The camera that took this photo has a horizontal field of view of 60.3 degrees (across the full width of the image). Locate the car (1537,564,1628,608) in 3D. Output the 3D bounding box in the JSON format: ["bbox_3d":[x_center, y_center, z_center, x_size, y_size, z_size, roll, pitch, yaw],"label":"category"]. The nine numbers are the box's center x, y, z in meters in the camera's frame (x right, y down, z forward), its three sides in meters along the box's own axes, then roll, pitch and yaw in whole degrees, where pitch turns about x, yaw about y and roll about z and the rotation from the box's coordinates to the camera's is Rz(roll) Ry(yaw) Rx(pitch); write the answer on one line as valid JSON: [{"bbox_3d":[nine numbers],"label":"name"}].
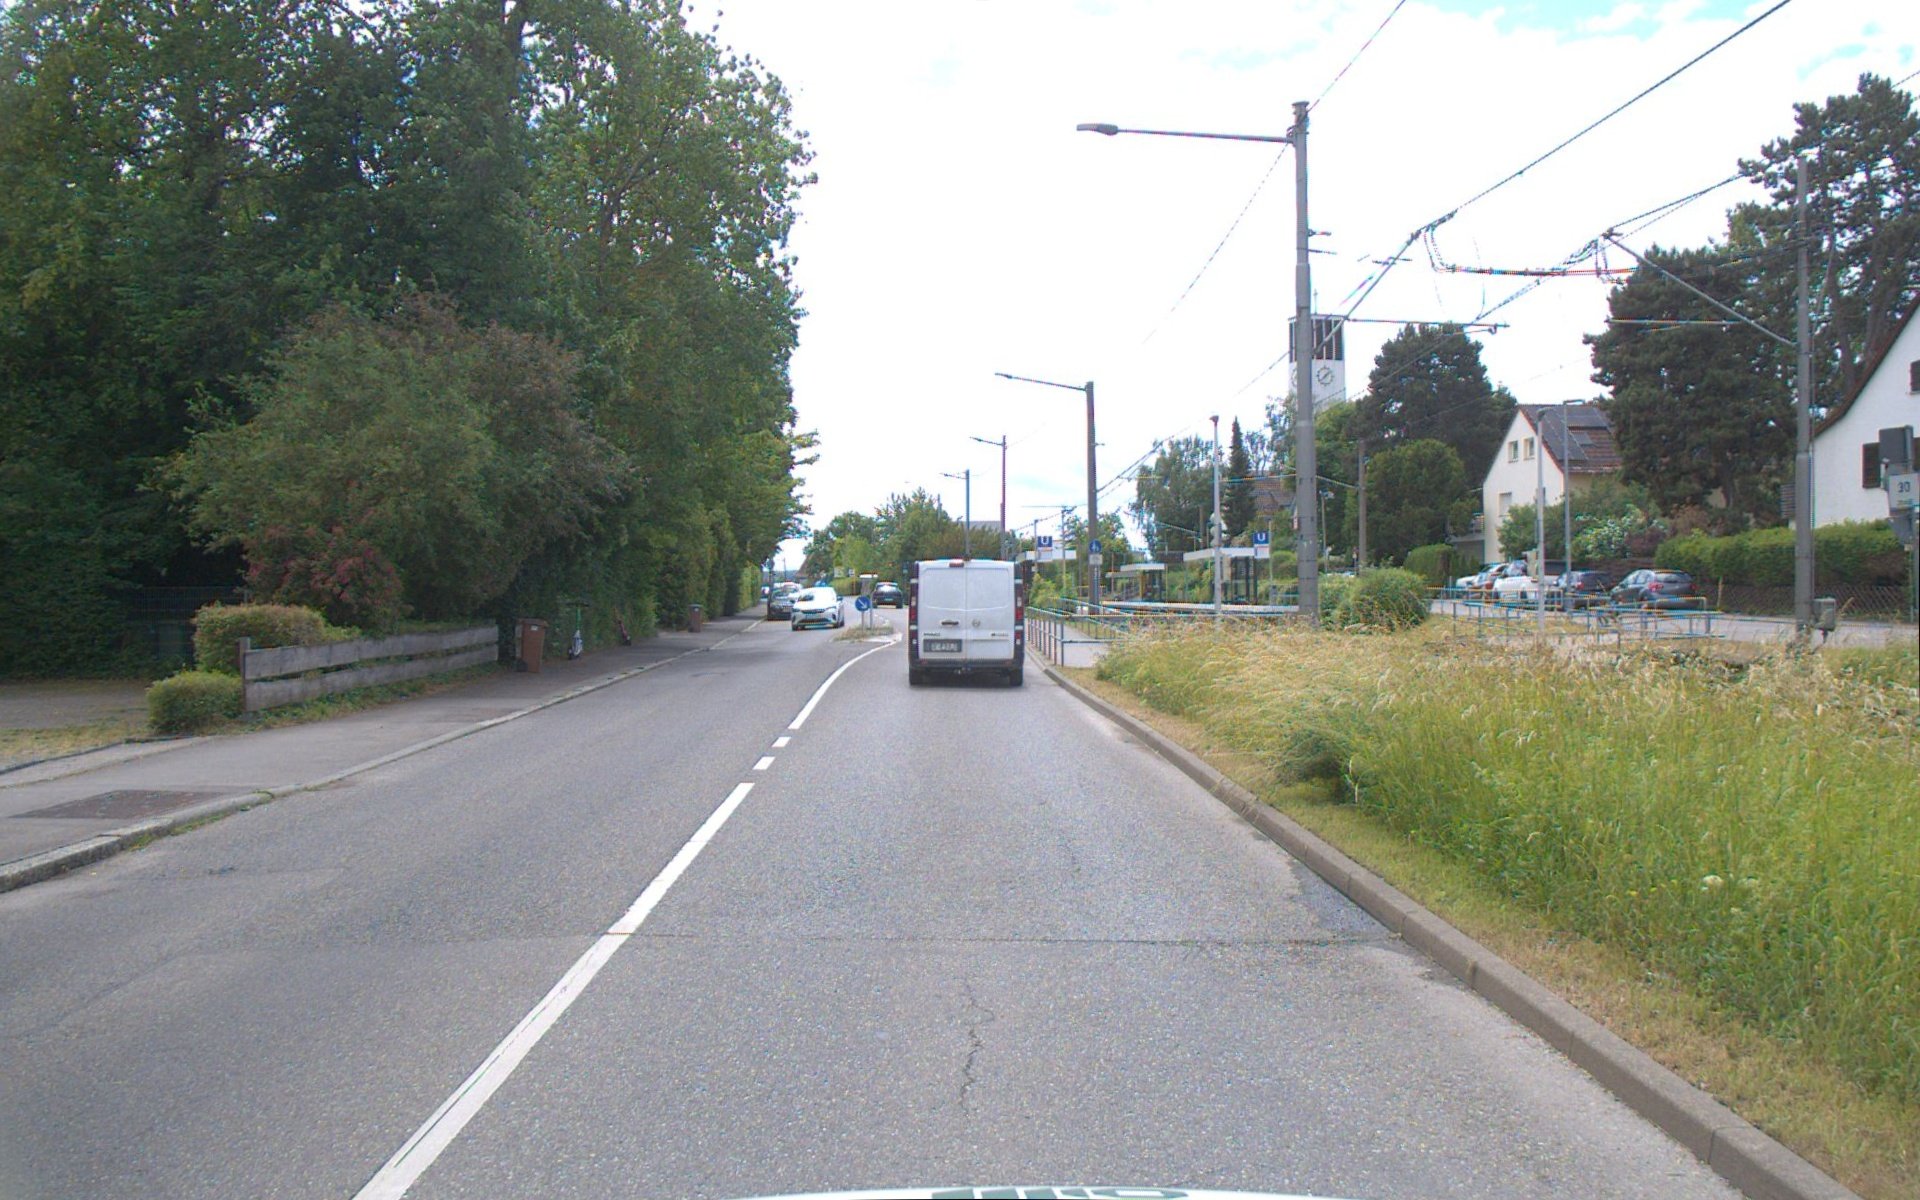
[{"bbox_3d":[22.617,-0.505,60.257,1.844,1.548,4.000,-1,0,1],"label":"car"}]

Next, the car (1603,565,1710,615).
[{"bbox_3d":[22.668,-0.325,53.982,1.844,1.548,4.000,-1,0,1],"label":"car"}]

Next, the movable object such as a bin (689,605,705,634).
[{"bbox_3d":[-9.062,0.666,56.909,0.455,0.946,0.428,3,-1,-18],"label":"movable object such as a bin"}]

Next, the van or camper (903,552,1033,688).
[{"bbox_3d":[0.130,0.310,27.399,1.953,2.049,4.445,1,0,0],"label":"van or camper"}]

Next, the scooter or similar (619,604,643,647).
[{"bbox_3d":[-8.608,0.657,43.244,0.470,1.100,1.207,0,0,-19],"label":"scooter or similar"}]

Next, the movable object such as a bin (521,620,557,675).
[{"bbox_3d":[-7.515,0.838,29.534,0.503,0.961,0.568,1,0,-1],"label":"movable object such as a bin"}]

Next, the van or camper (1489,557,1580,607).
[{"bbox_3d":[22.546,-0.695,65.062,1.866,1.858,5.048,-1,0,1],"label":"van or camper"}]

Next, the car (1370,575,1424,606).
[{"bbox_3d":[22.876,-0.490,86.718,1.844,1.548,4.000,-1,0,1],"label":"car"}]

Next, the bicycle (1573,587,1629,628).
[{"bbox_3d":[17.231,0.191,44.524,0.527,1.064,2.540,-1,0,1],"label":"bicycle"}]

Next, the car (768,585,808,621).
[{"bbox_3d":[-7.936,0.128,76.140,1.703,1.531,4.471,-2,1,-6],"label":"car"}]

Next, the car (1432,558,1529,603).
[{"bbox_3d":[26.174,-0.987,83.221,4.245,1.977,1.744,-3,1,-6],"label":"car"}]

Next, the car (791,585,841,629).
[{"bbox_3d":[-5.133,0.239,59.365,1.660,1.455,3.784,-3,0,-4],"label":"car"}]

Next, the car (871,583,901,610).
[{"bbox_3d":[-4.705,-0.256,105.235,1.815,1.677,3.732,-1,0,-3],"label":"car"}]

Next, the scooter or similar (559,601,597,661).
[{"bbox_3d":[-8.079,0.646,35.012,0.400,1.220,1.639,-1,0,1],"label":"scooter or similar"}]

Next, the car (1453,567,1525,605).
[{"bbox_3d":[22.666,-0.601,70.982,1.844,1.548,4.000,-1,0,1],"label":"car"}]
